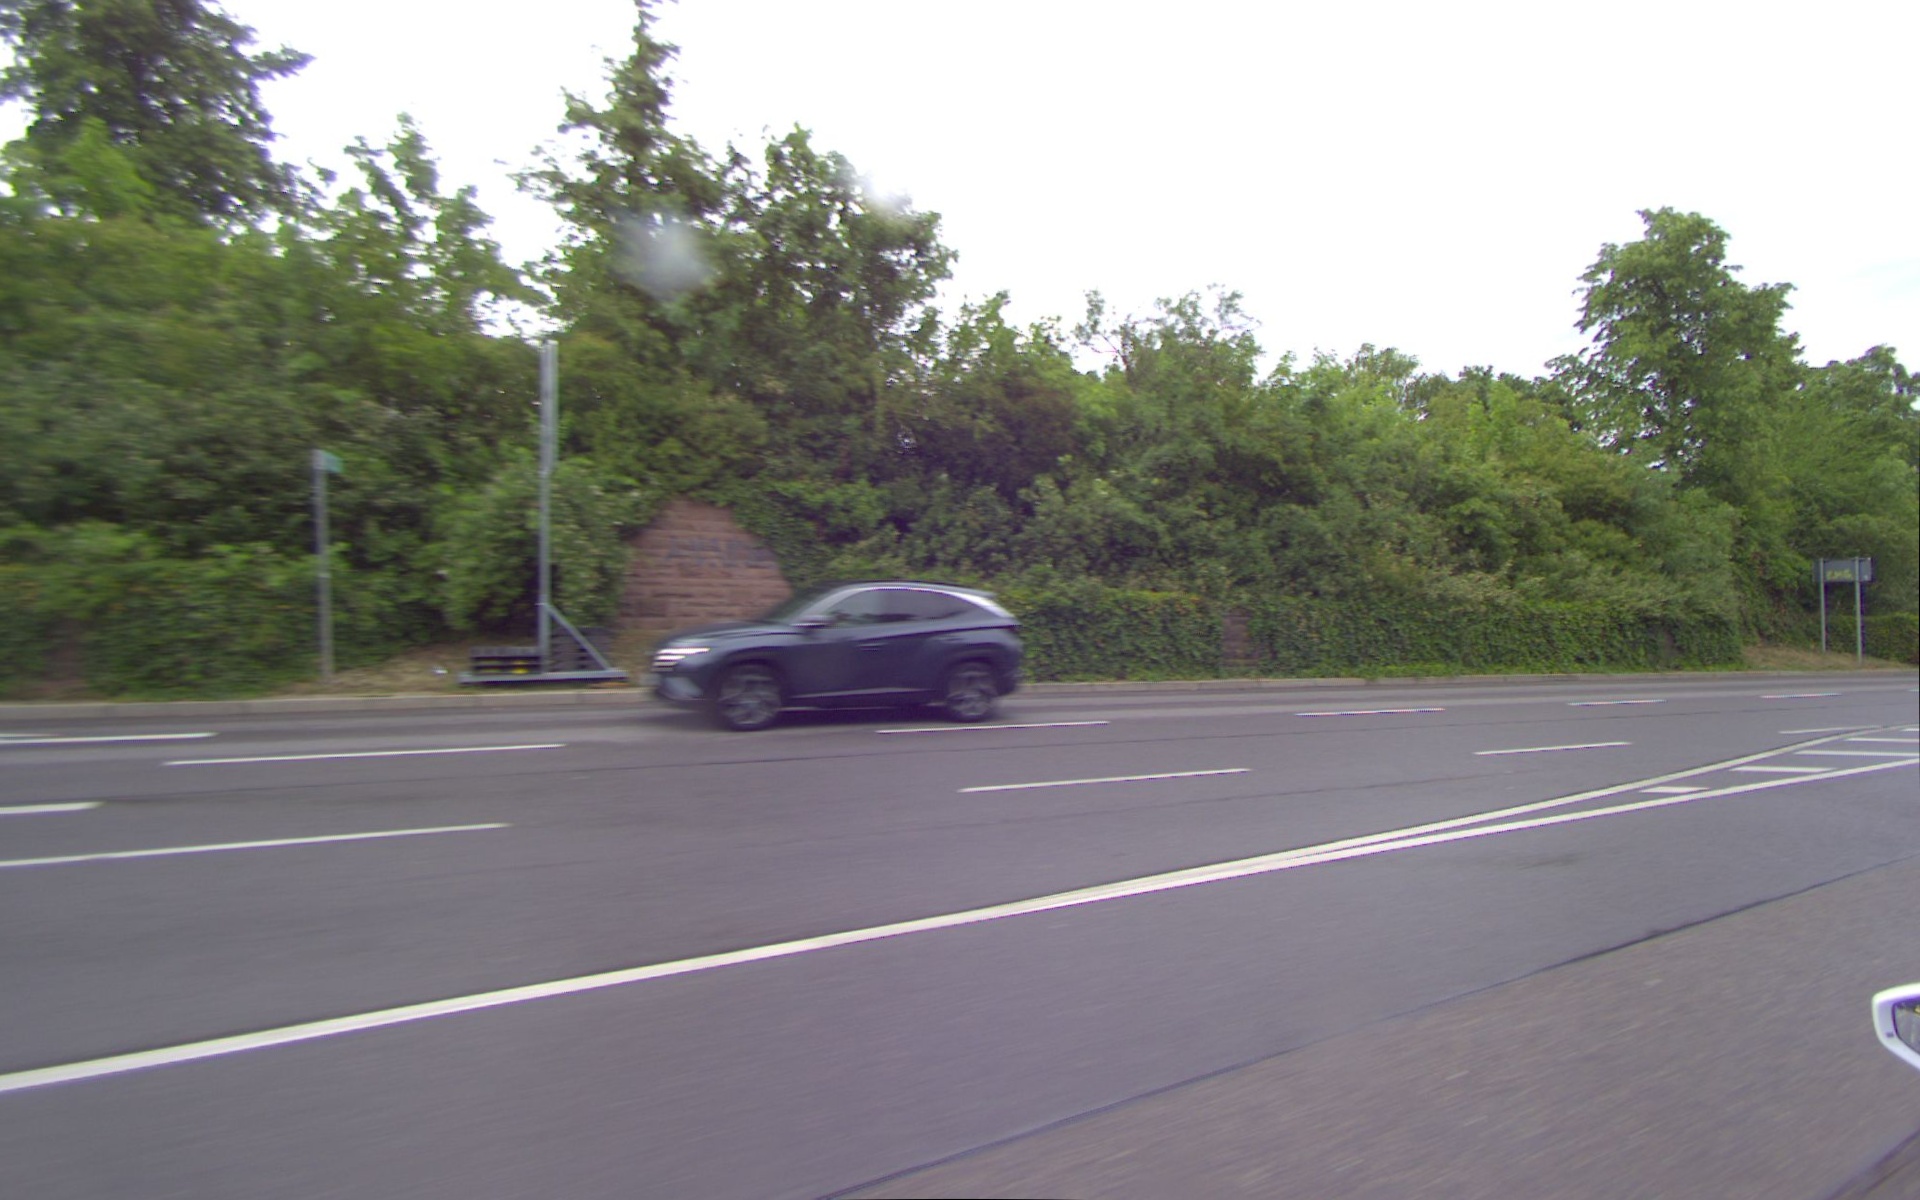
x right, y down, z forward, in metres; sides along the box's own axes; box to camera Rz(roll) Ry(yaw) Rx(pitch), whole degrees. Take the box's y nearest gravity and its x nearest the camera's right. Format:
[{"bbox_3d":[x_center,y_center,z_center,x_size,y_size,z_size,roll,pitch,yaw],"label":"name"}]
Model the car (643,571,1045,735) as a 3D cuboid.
[{"bbox_3d":[-1.330,0.555,11.888,4.372,1.628,1.792,1,1,-28],"label":"car"}]
